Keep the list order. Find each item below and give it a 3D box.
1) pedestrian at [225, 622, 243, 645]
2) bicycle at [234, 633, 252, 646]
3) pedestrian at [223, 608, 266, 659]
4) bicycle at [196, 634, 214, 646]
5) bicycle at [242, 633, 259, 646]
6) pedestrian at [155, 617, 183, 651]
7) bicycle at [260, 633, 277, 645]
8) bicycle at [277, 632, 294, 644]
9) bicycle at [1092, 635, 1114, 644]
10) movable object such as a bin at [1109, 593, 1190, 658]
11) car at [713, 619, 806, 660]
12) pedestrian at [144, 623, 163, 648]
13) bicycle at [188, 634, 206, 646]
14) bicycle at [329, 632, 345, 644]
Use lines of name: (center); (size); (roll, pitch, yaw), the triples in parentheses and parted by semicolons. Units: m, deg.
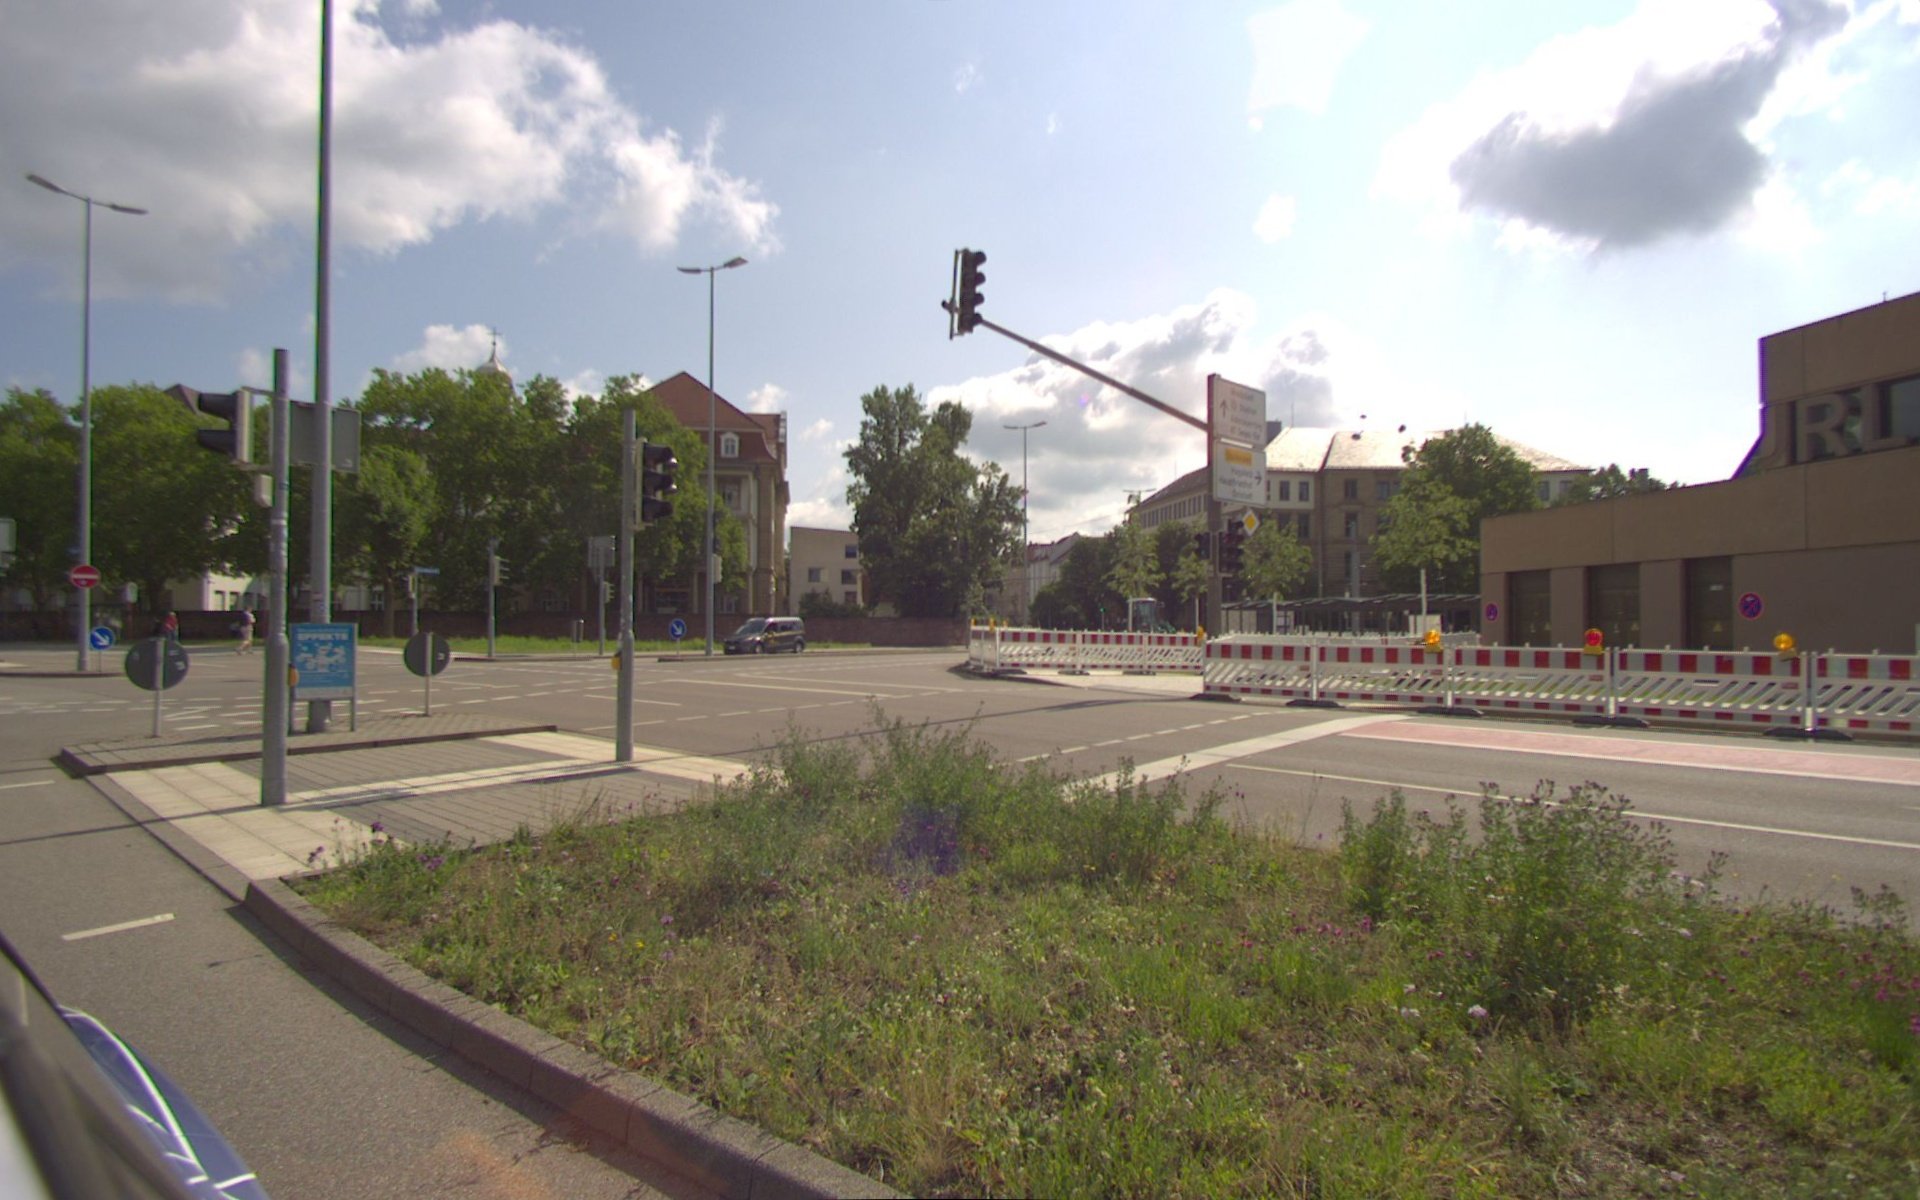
pedestrian: (-50.933, 2.348, 70.993); (0.714, 1.545, 0.726); (0, -1, 1)
bicycle: (-50.542, 2.793, 71.322); (0.476, 0.855, 0.972); (0, -2, 4)
pedestrian: (-26.985, 1.253, 38.185); (0.692, 1.871, 1.176); (-2, -2, 12)
bicycle: (-53.413, 2.825, 71.597); (0.476, 0.855, 0.972); (0, -2, 4)
bicycle: (-49.994, 2.775, 71.295); (0.476, 0.855, 0.972); (0, -2, 4)
pedestrian: (-42.181, 1.782, 53.995); (0.957, 1.793, 0.745); (0, -1, 17)
bicycle: (-48.683, 2.730, 71.217); (0.476, 0.855, 0.972); (0, -2, 4)
bicycle: (-47.403, 2.685, 71.099); (0.476, 0.855, 0.972); (0, -2, 4)
bicycle: (20.723, 5.682, 146.739); (2.887, 1.216, 1.061); (-1, 1, 34)
movable object such as a bin: (9.032, 1.230, 48.601); (1.966, 2.972, 4.464); (1, -2, -17)
car: (-9.350, 1.855, 47.523); (1.846, 1.799, 4.628); (-2, -3, 27)
pedestrian: (-56.275, 2.483, 70.655); (0.734, 1.736, 0.662); (0, -2, 7)
bicycle: (-53.984, 2.843, 71.617); (0.476, 0.855, 0.972); (0, -2, 4)
bicycle: (-43.580, 2.662, 70.767); (0.476, 0.855, 0.972); (0, -2, 4)
